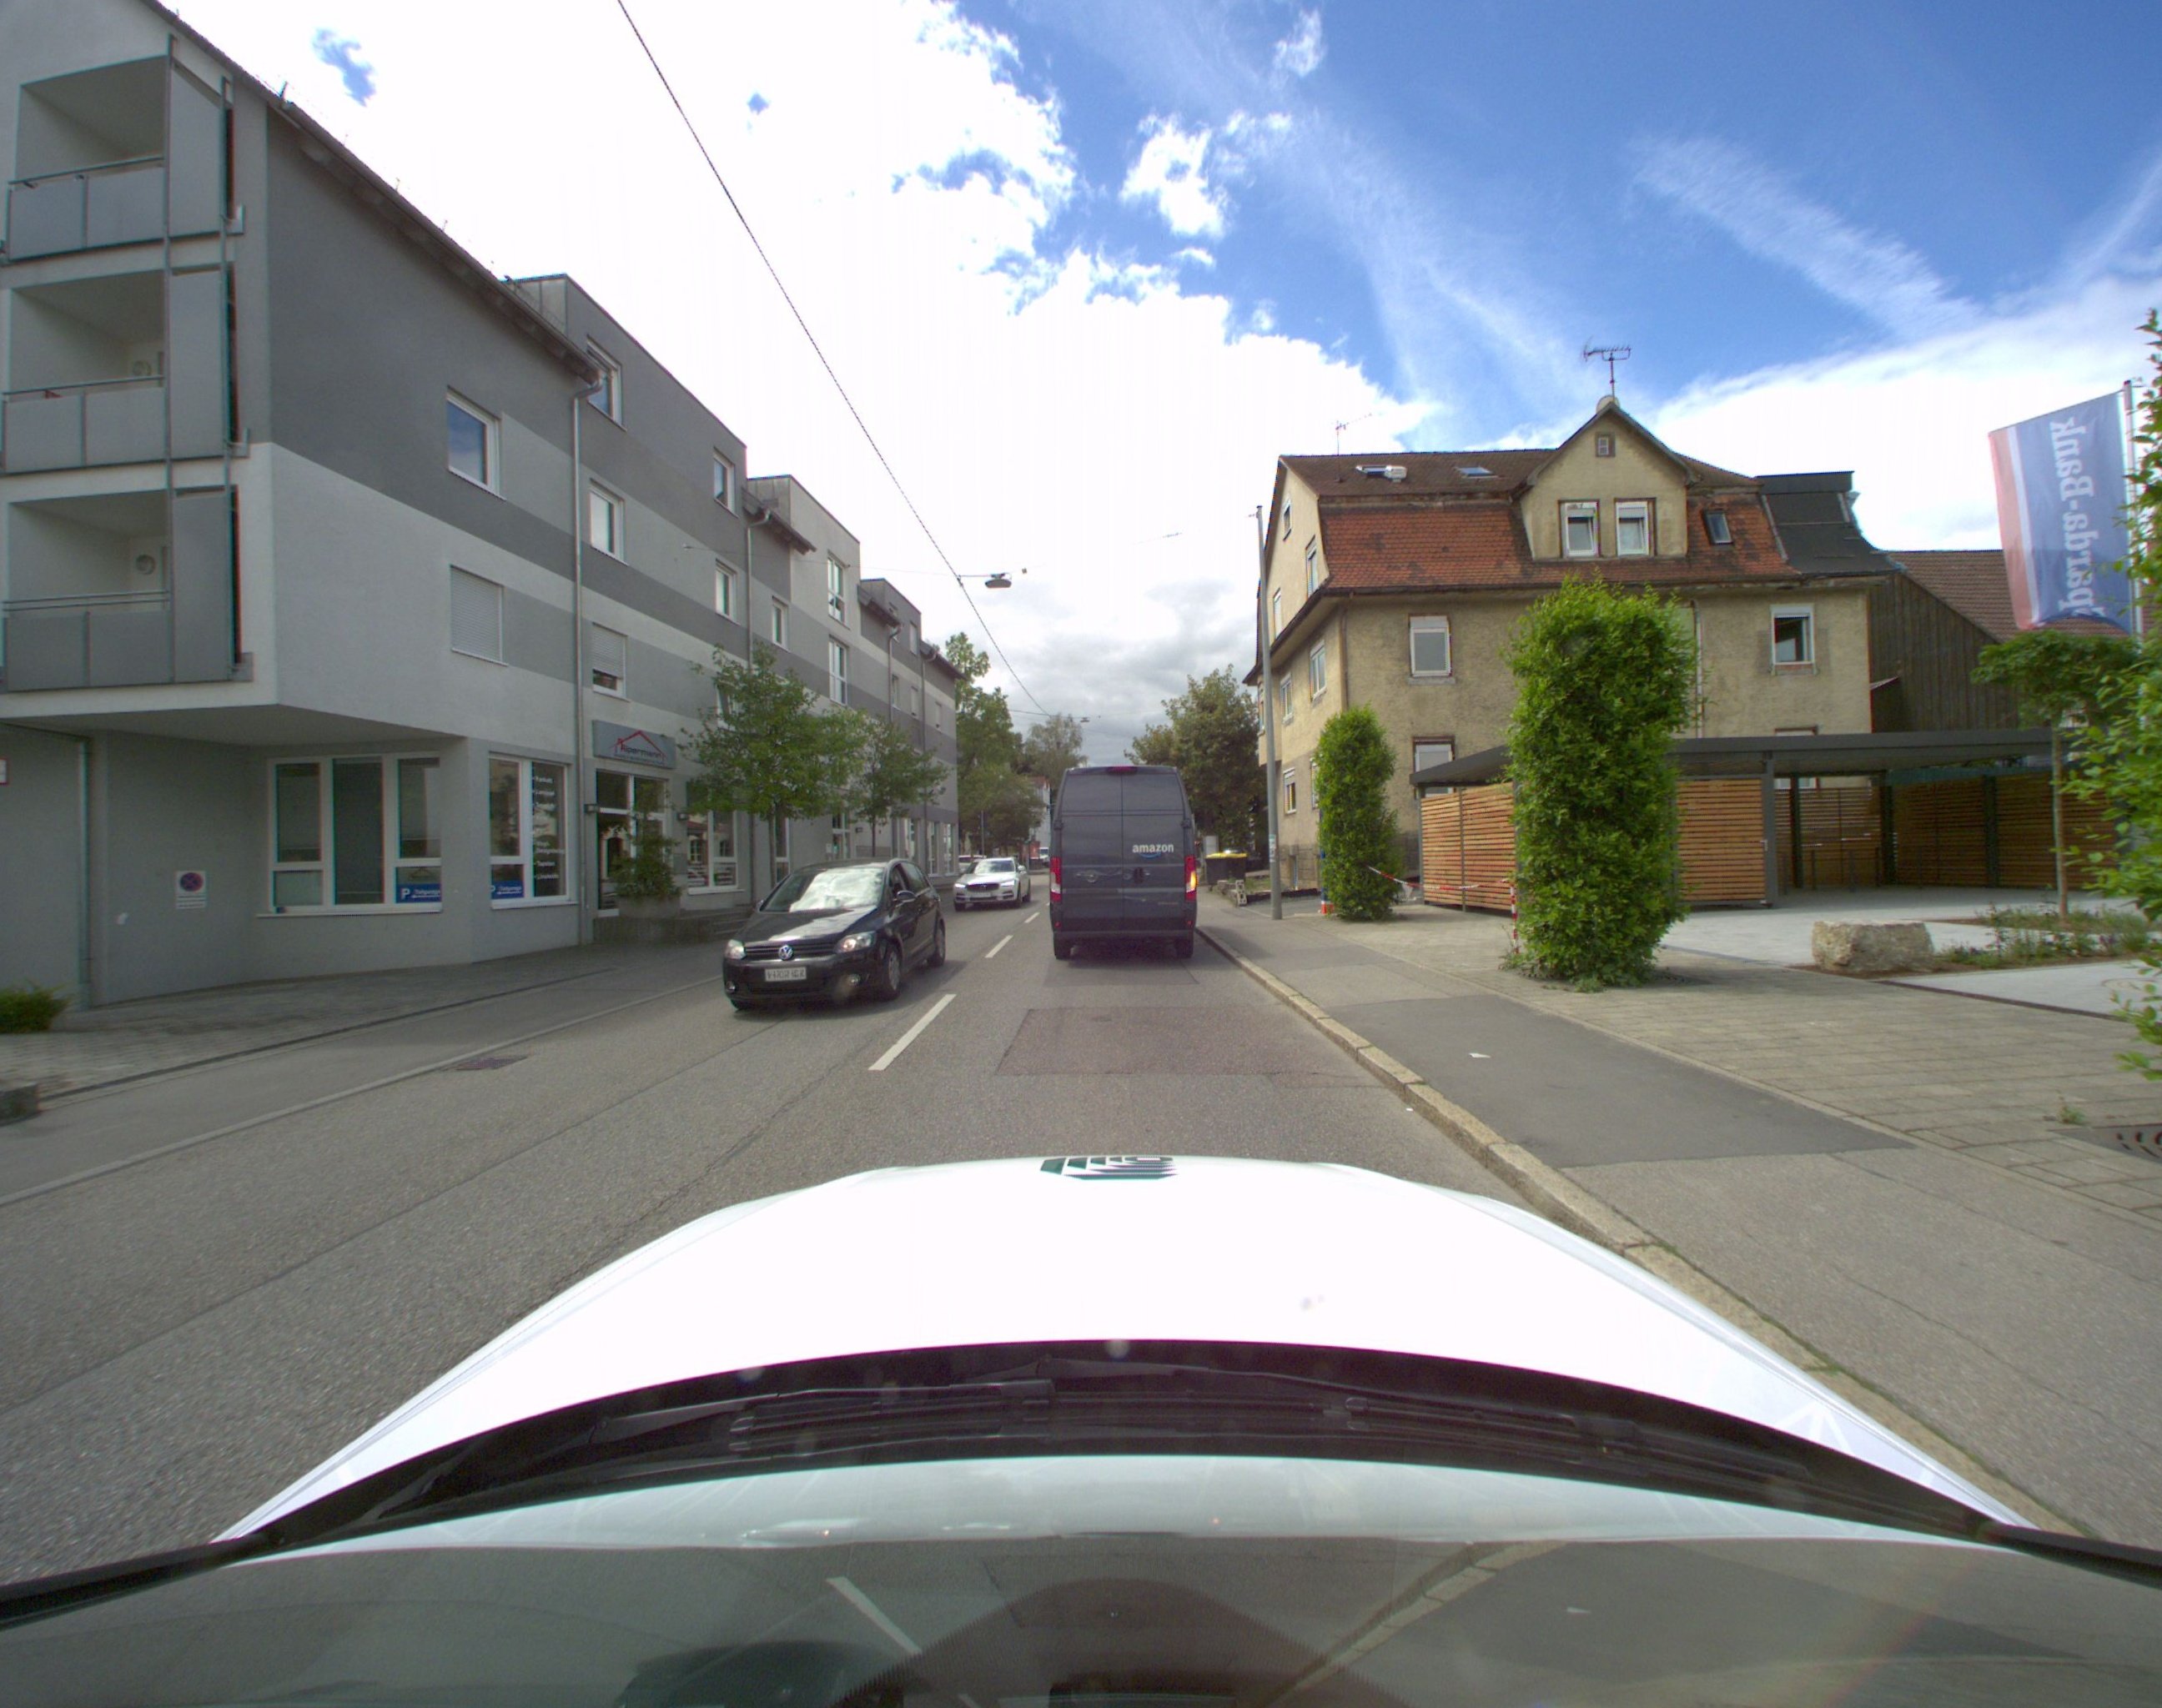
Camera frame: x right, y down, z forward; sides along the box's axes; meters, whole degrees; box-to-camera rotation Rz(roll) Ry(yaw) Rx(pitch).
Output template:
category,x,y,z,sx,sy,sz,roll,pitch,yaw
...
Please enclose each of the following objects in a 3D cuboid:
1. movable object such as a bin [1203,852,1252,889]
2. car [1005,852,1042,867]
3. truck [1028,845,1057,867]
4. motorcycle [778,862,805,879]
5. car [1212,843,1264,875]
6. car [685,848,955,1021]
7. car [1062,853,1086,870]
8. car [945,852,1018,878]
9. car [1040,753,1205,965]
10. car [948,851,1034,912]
category,x,y,z,sx,sy,sz,roll,pitch,yaw
movable object such as a bin,5.202,0.561,28.952,1.189,1.266,1.198,-1,0,-28
car,-5.894,0.572,84.188,3.681,1.425,1.805,-1,0,0
truck,-4.261,0.205,91.431,2.213,2.380,6.337,-1,-1,6
motorcycle,-19.008,1.070,53.517,1.201,1.004,2.332,-1,0,-9
car,9.113,0.259,47.049,1.735,1.517,4.104,-5,0,28
car,-2.845,0.779,9.915,1.825,1.584,4.038,-3,0,1
car,-0.575,0.629,72.373,1.866,1.424,4.119,-1,0,3
car,-6.084,0.686,50.305,4.194,1.513,1.824,-1,1,3
car,0.564,0.059,13.937,2.141,2.770,6.249,-1,0,0
car,-2.659,0.762,25.152,1.890,1.559,4.802,-4,0,2
